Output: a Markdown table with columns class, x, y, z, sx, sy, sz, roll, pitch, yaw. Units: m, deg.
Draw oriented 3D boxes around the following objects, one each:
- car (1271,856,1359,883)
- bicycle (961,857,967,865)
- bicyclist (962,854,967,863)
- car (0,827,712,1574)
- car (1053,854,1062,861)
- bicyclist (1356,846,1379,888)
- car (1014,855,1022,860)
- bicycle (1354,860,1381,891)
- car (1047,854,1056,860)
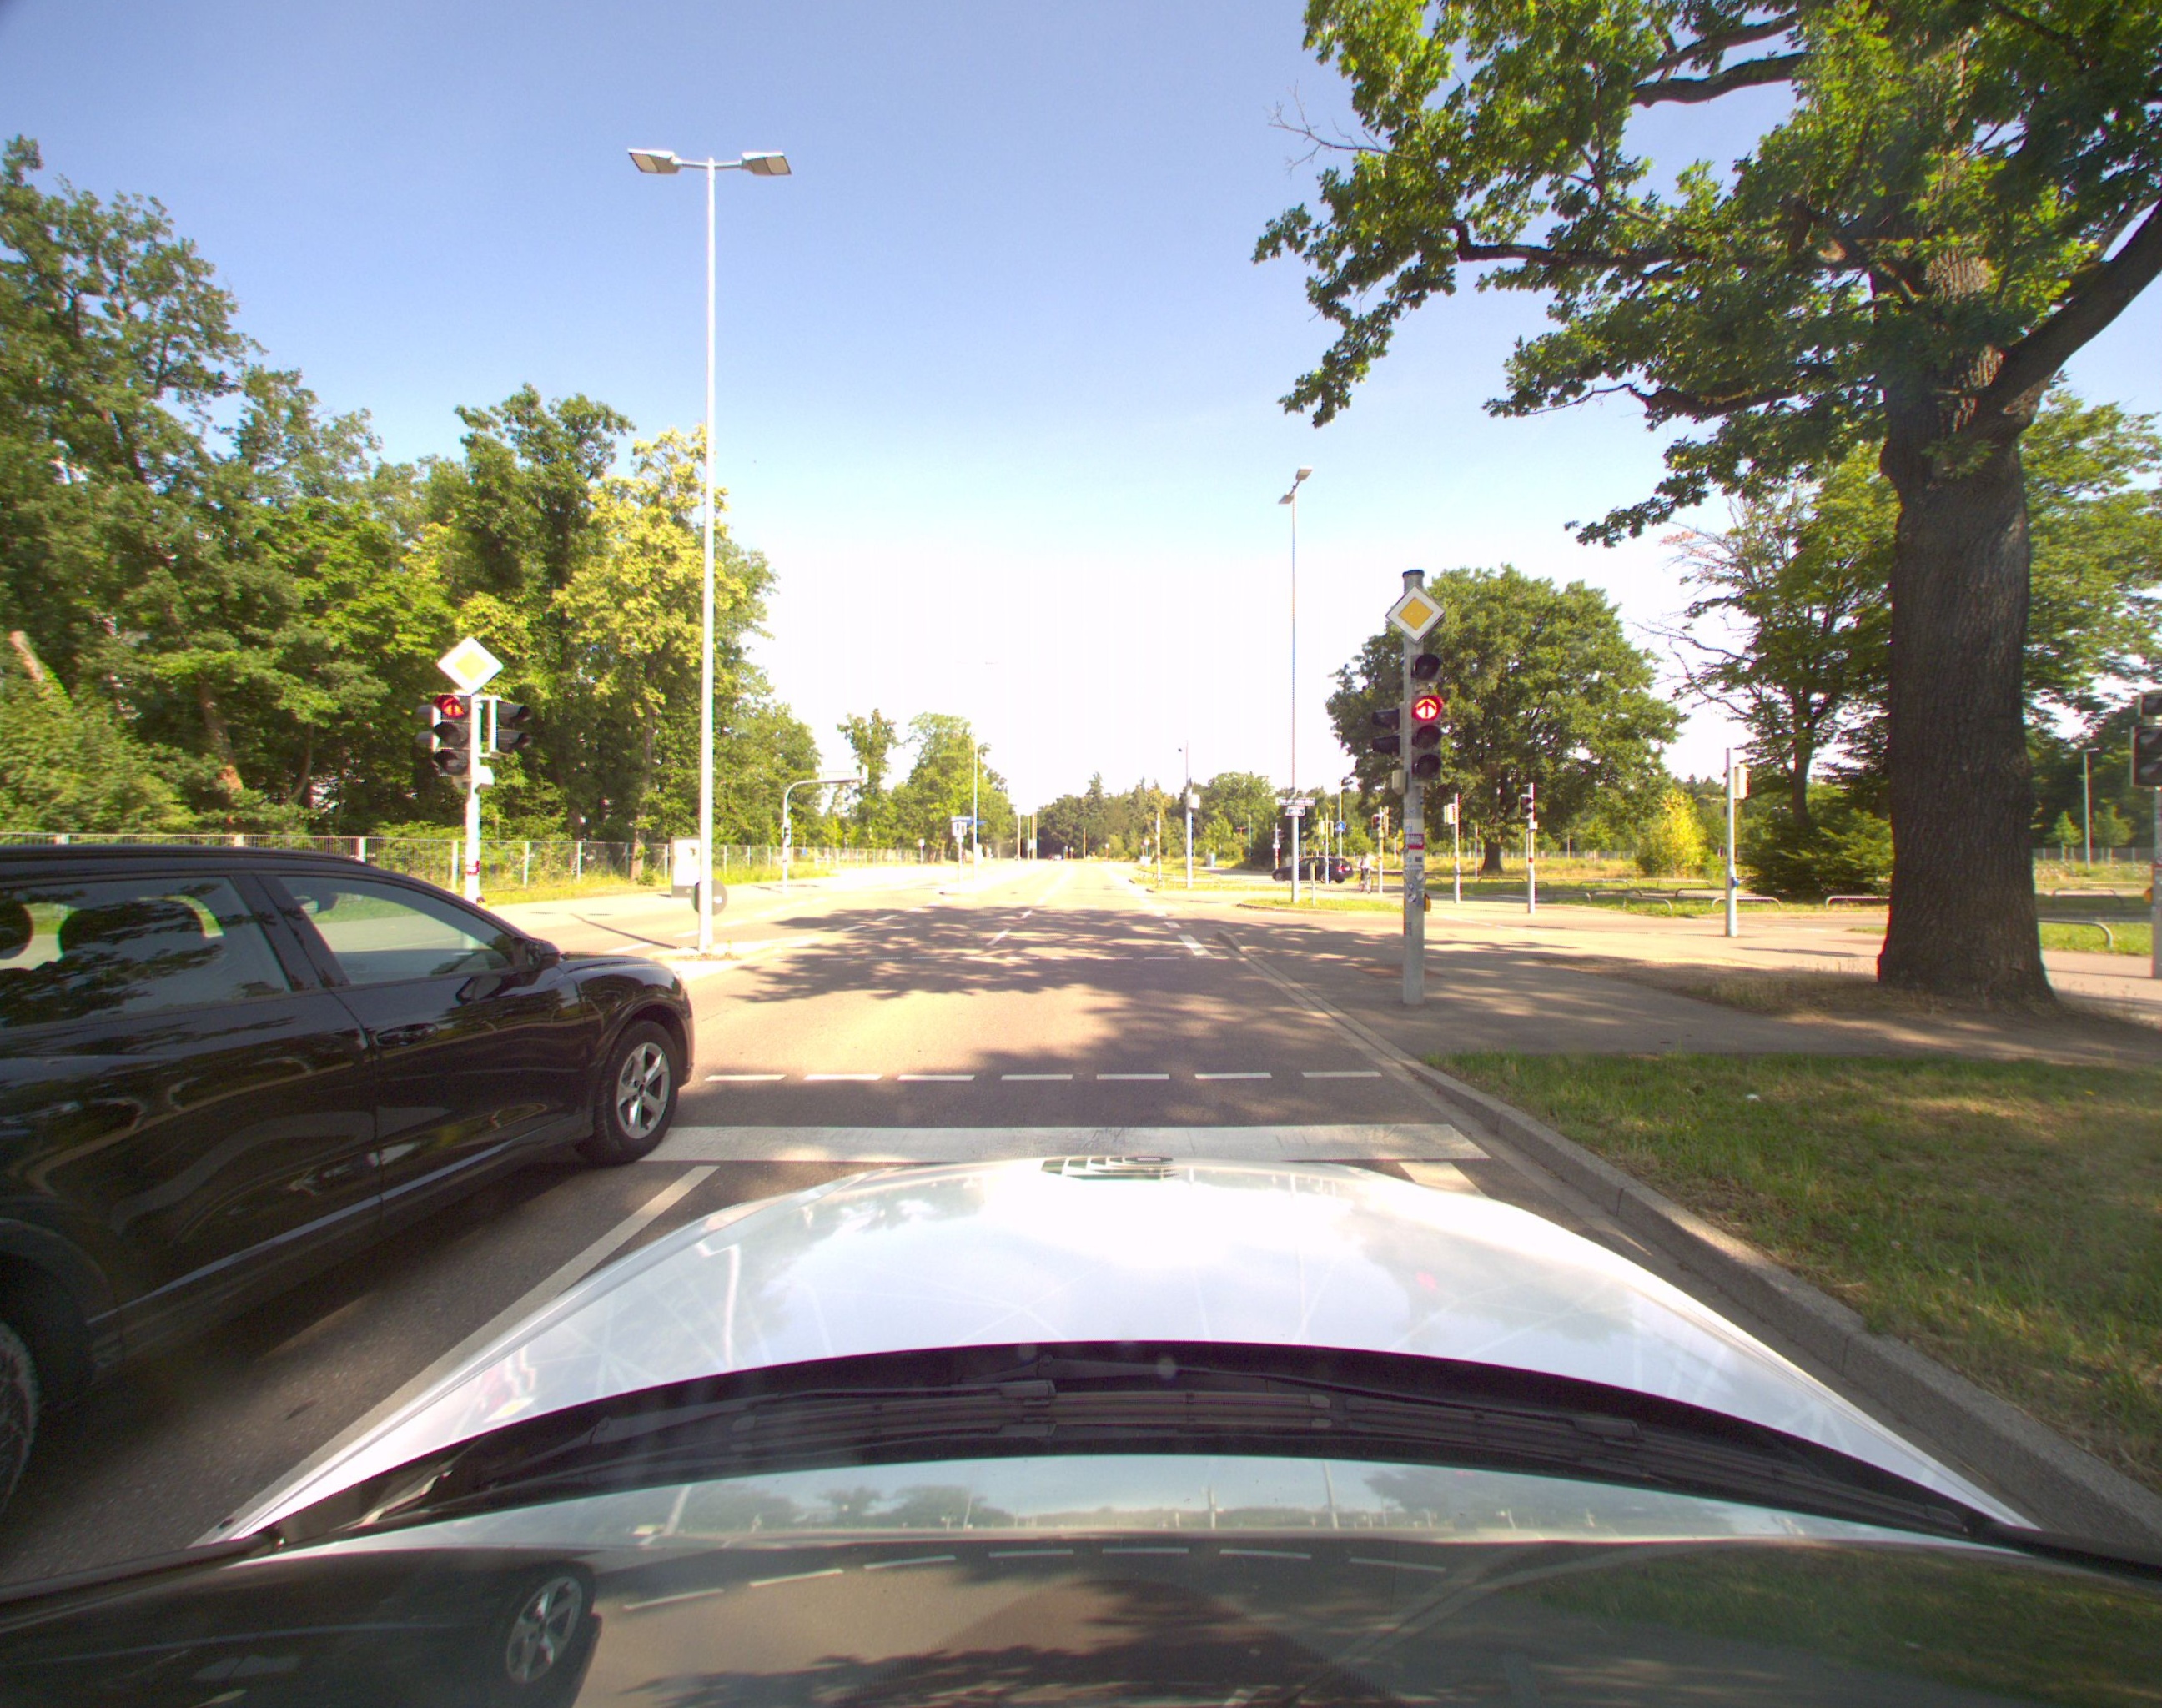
| class | x | y | z | sx | sy | sz | roll | pitch | yaw |
| --- | --- | --- | --- | --- | --- | --- | --- | --- | --- |
| car | 12.953 | 0.823 | 45.230 | 4.239 | 1.420 | 1.959 | 0 | 0 | 43 |
| bicycle | -18.901 | 1.137 | 131.675 | 0.658 | 1.136 | 1.876 | 1 | 0 | -4 |
| bicyclist | -18.871 | 0.734 | 131.713 | 0.658 | 1.467 | 1.056 | 1 | 0 | -4 |
| car | -3.058 | 0.731 | 2.660 | 1.681 | 1.544 | 4.150 | -1 | 0 | 2 |
| car | -6.172 | 0.982 | 211.710 | 1.993 | 1.750 | 3.988 | 0 | -1 | -9 |
| bicyclist | 11.537 | 0.507 | 32.780 | 0.719 | 1.639 | 1.061 | 0 | 0 | 10 |
| car | -18.632 | 1.098 | 240.407 | 1.810 | 1.388 | 4.148 | -2 | 0 | -9 |
| bicycle | 11.554 | 0.852 | 32.913 | 0.719 | 1.199 | 2.107 | 0 | 0 | 10 |
| car | -8.189 | 0.897 | 227.564 | 1.993 | 1.596 | 3.988 | 0 | 0 | -9 |
